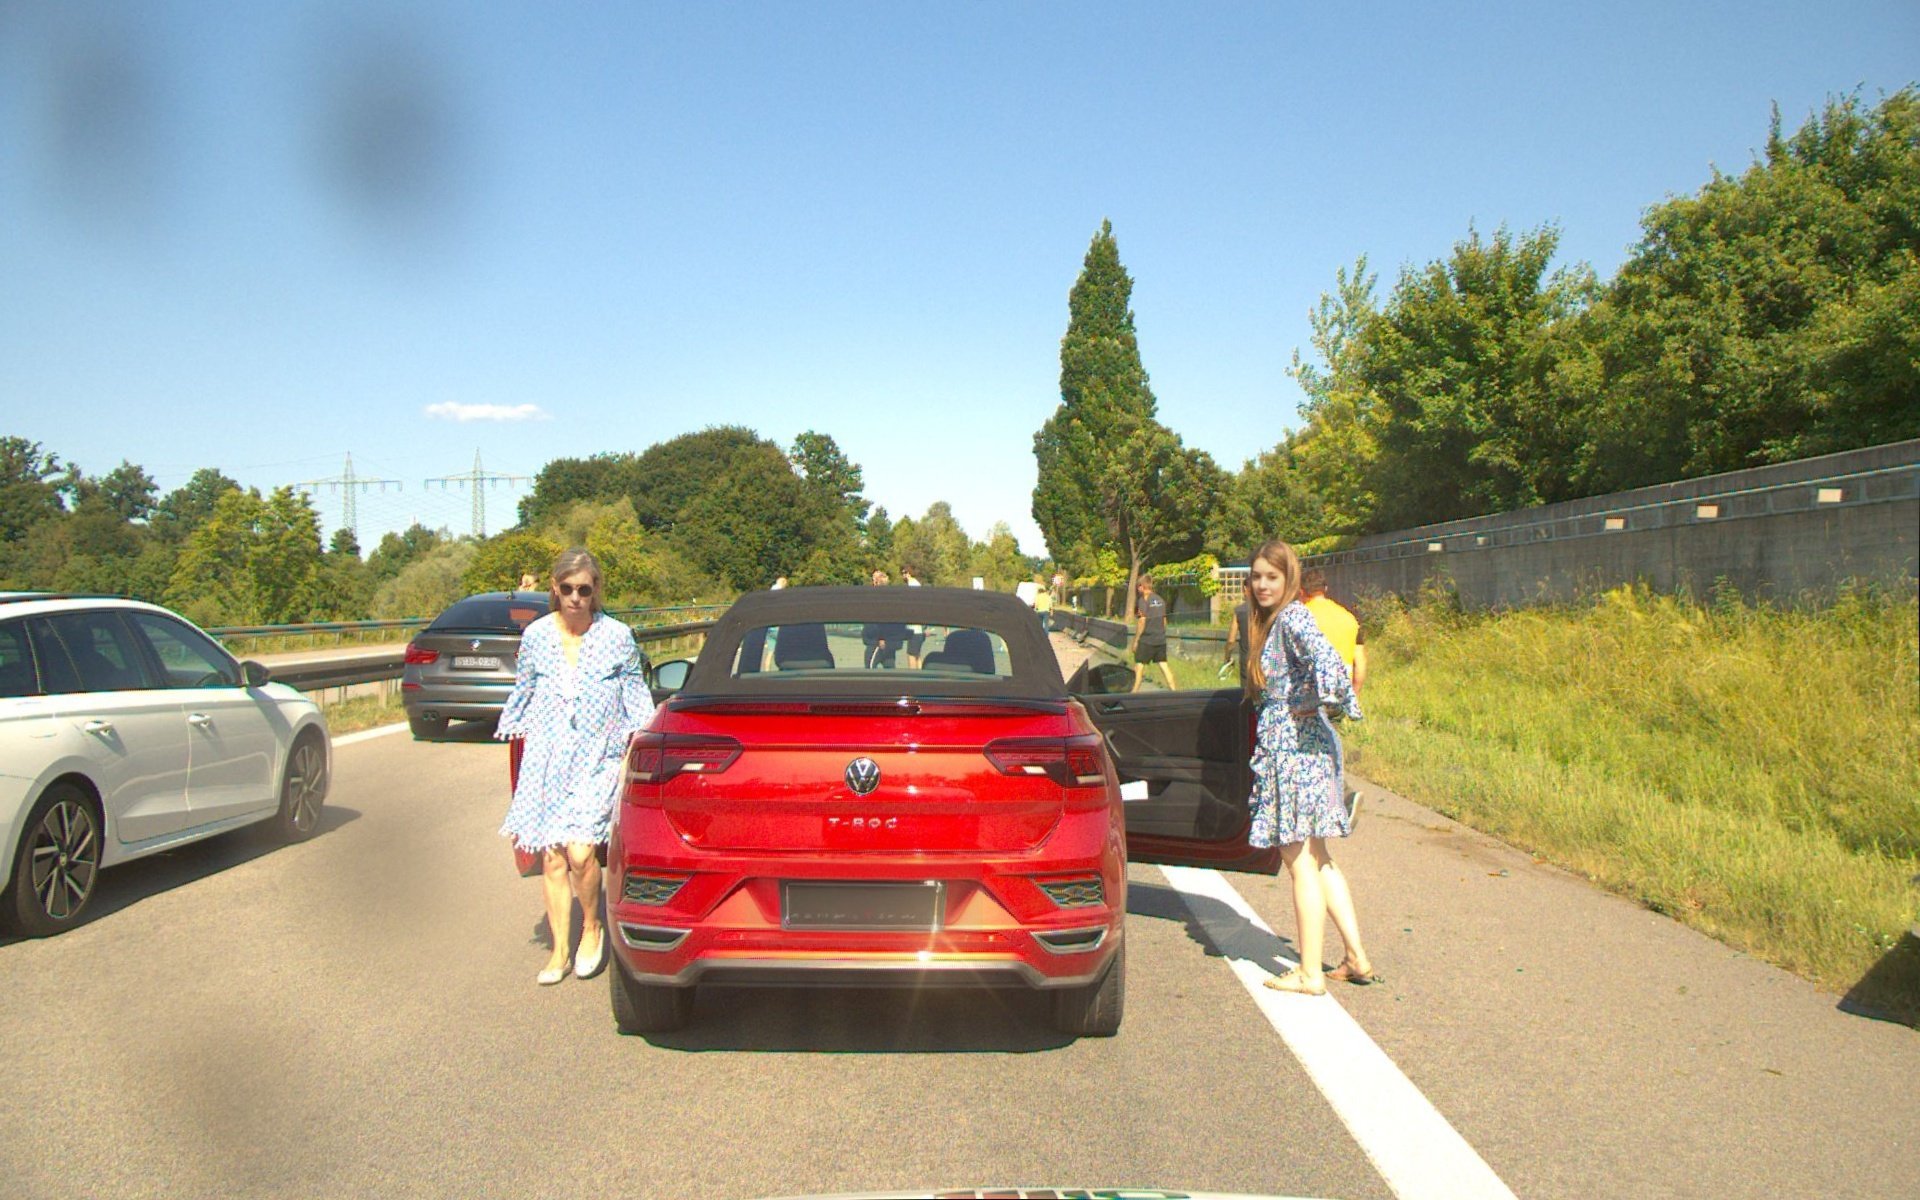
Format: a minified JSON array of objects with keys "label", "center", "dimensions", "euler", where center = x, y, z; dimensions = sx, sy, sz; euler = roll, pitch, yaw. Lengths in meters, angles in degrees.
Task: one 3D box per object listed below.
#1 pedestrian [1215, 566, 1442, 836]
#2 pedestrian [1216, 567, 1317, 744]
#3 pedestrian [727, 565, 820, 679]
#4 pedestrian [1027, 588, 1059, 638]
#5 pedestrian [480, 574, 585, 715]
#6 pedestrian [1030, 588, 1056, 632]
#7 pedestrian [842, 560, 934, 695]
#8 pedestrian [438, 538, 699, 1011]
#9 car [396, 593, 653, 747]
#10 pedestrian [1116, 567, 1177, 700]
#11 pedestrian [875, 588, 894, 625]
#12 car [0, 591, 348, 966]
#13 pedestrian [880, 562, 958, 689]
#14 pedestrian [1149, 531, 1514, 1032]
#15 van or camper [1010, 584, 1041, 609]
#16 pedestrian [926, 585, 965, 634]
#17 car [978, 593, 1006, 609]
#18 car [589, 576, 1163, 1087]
[{"label":"pedestrian","center":[2.454,0.631,11.142],"dimensions":[0.944,1.682,1.271],"euler":[-1,0,-20]},{"label":"pedestrian","center":[3.112,0.555,16.842],"dimensions":[0.876,1.755,0.754],"euler":[1,0,0]},{"label":"pedestrian","center":[-3.076,0.350,27.270],"dimensions":[1.089,1.820,1.084],"euler":[0,-1,44]},{"label":"pedestrian","center":[2.862,0.452,57.063],"dimensions":[1.033,1.719,1.018],"euler":[1,0,6]},{"label":"pedestrian","center":[-5.604,0.565,21.736],"dimensions":[1.019,1.794,1.119],"euler":[-1,0,2]},{"label":"pedestrian","center":[3.277,0.378,65.305],"dimensions":[0.975,1.719,1.011],"euler":[1,0,3]},{"label":"pedestrian","center":[-1.030,0.392,24.005],"dimensions":[1.042,1.916,1.094],"euler":[-1,0,14]},{"label":"pedestrian","center":[-1.486,0.635,6.409],"dimensions":[0.822,1.712,0.743],"euler":[-1,0,-1]},{"label":"car","center":[-4.559,0.659,17.958],"dimensions":[1.660,1.451,4.333],"euler":[1,0,0]},{"label":"pedestrian","center":[2.577,0.453,22.815],"dimensions":[0.794,1.790,0.829],"euler":[1,0,8]},{"label":"pedestrian","center":[-3.624,0.316,79.376],"dimensions":[0.775,1.719,0.793],"euler":[1,0,5]},{"label":"car","center":[-4.631,0.700,8.163],"dimensions":[1.660,1.467,4.210],"euler":[1,0,0]},{"label":"pedestrian","center":[-0.659,0.385,26.246],"dimensions":[1.085,1.946,1.255],"euler":[-1,0,-8]},{"label":"pedestrian","center":[1.361,0.627,6.247],"dimensions":[1.103,1.725,0.892],"euler":[-1,0,-5]},{"label":"van or camper","center":[6.326,-0.312,159.100],"dimensions":[1.951,2.356,4.473],"euler":[1,0,16]},{"label":"pedestrian","center":[-0.499,0.337,58.659],"dimensions":[1.090,1.719,0.973],"euler":[0,0,20]},{"label":"car","center":[3.106,0.108,160.347],"dimensions":[1.696,1.513,4.213],"euler":[1,0,16]},{"label":"car","center":[-0.260,0.682,7.040],"dimensions":[1.697,1.513,4.210],"euler":[1,0,0]}]
